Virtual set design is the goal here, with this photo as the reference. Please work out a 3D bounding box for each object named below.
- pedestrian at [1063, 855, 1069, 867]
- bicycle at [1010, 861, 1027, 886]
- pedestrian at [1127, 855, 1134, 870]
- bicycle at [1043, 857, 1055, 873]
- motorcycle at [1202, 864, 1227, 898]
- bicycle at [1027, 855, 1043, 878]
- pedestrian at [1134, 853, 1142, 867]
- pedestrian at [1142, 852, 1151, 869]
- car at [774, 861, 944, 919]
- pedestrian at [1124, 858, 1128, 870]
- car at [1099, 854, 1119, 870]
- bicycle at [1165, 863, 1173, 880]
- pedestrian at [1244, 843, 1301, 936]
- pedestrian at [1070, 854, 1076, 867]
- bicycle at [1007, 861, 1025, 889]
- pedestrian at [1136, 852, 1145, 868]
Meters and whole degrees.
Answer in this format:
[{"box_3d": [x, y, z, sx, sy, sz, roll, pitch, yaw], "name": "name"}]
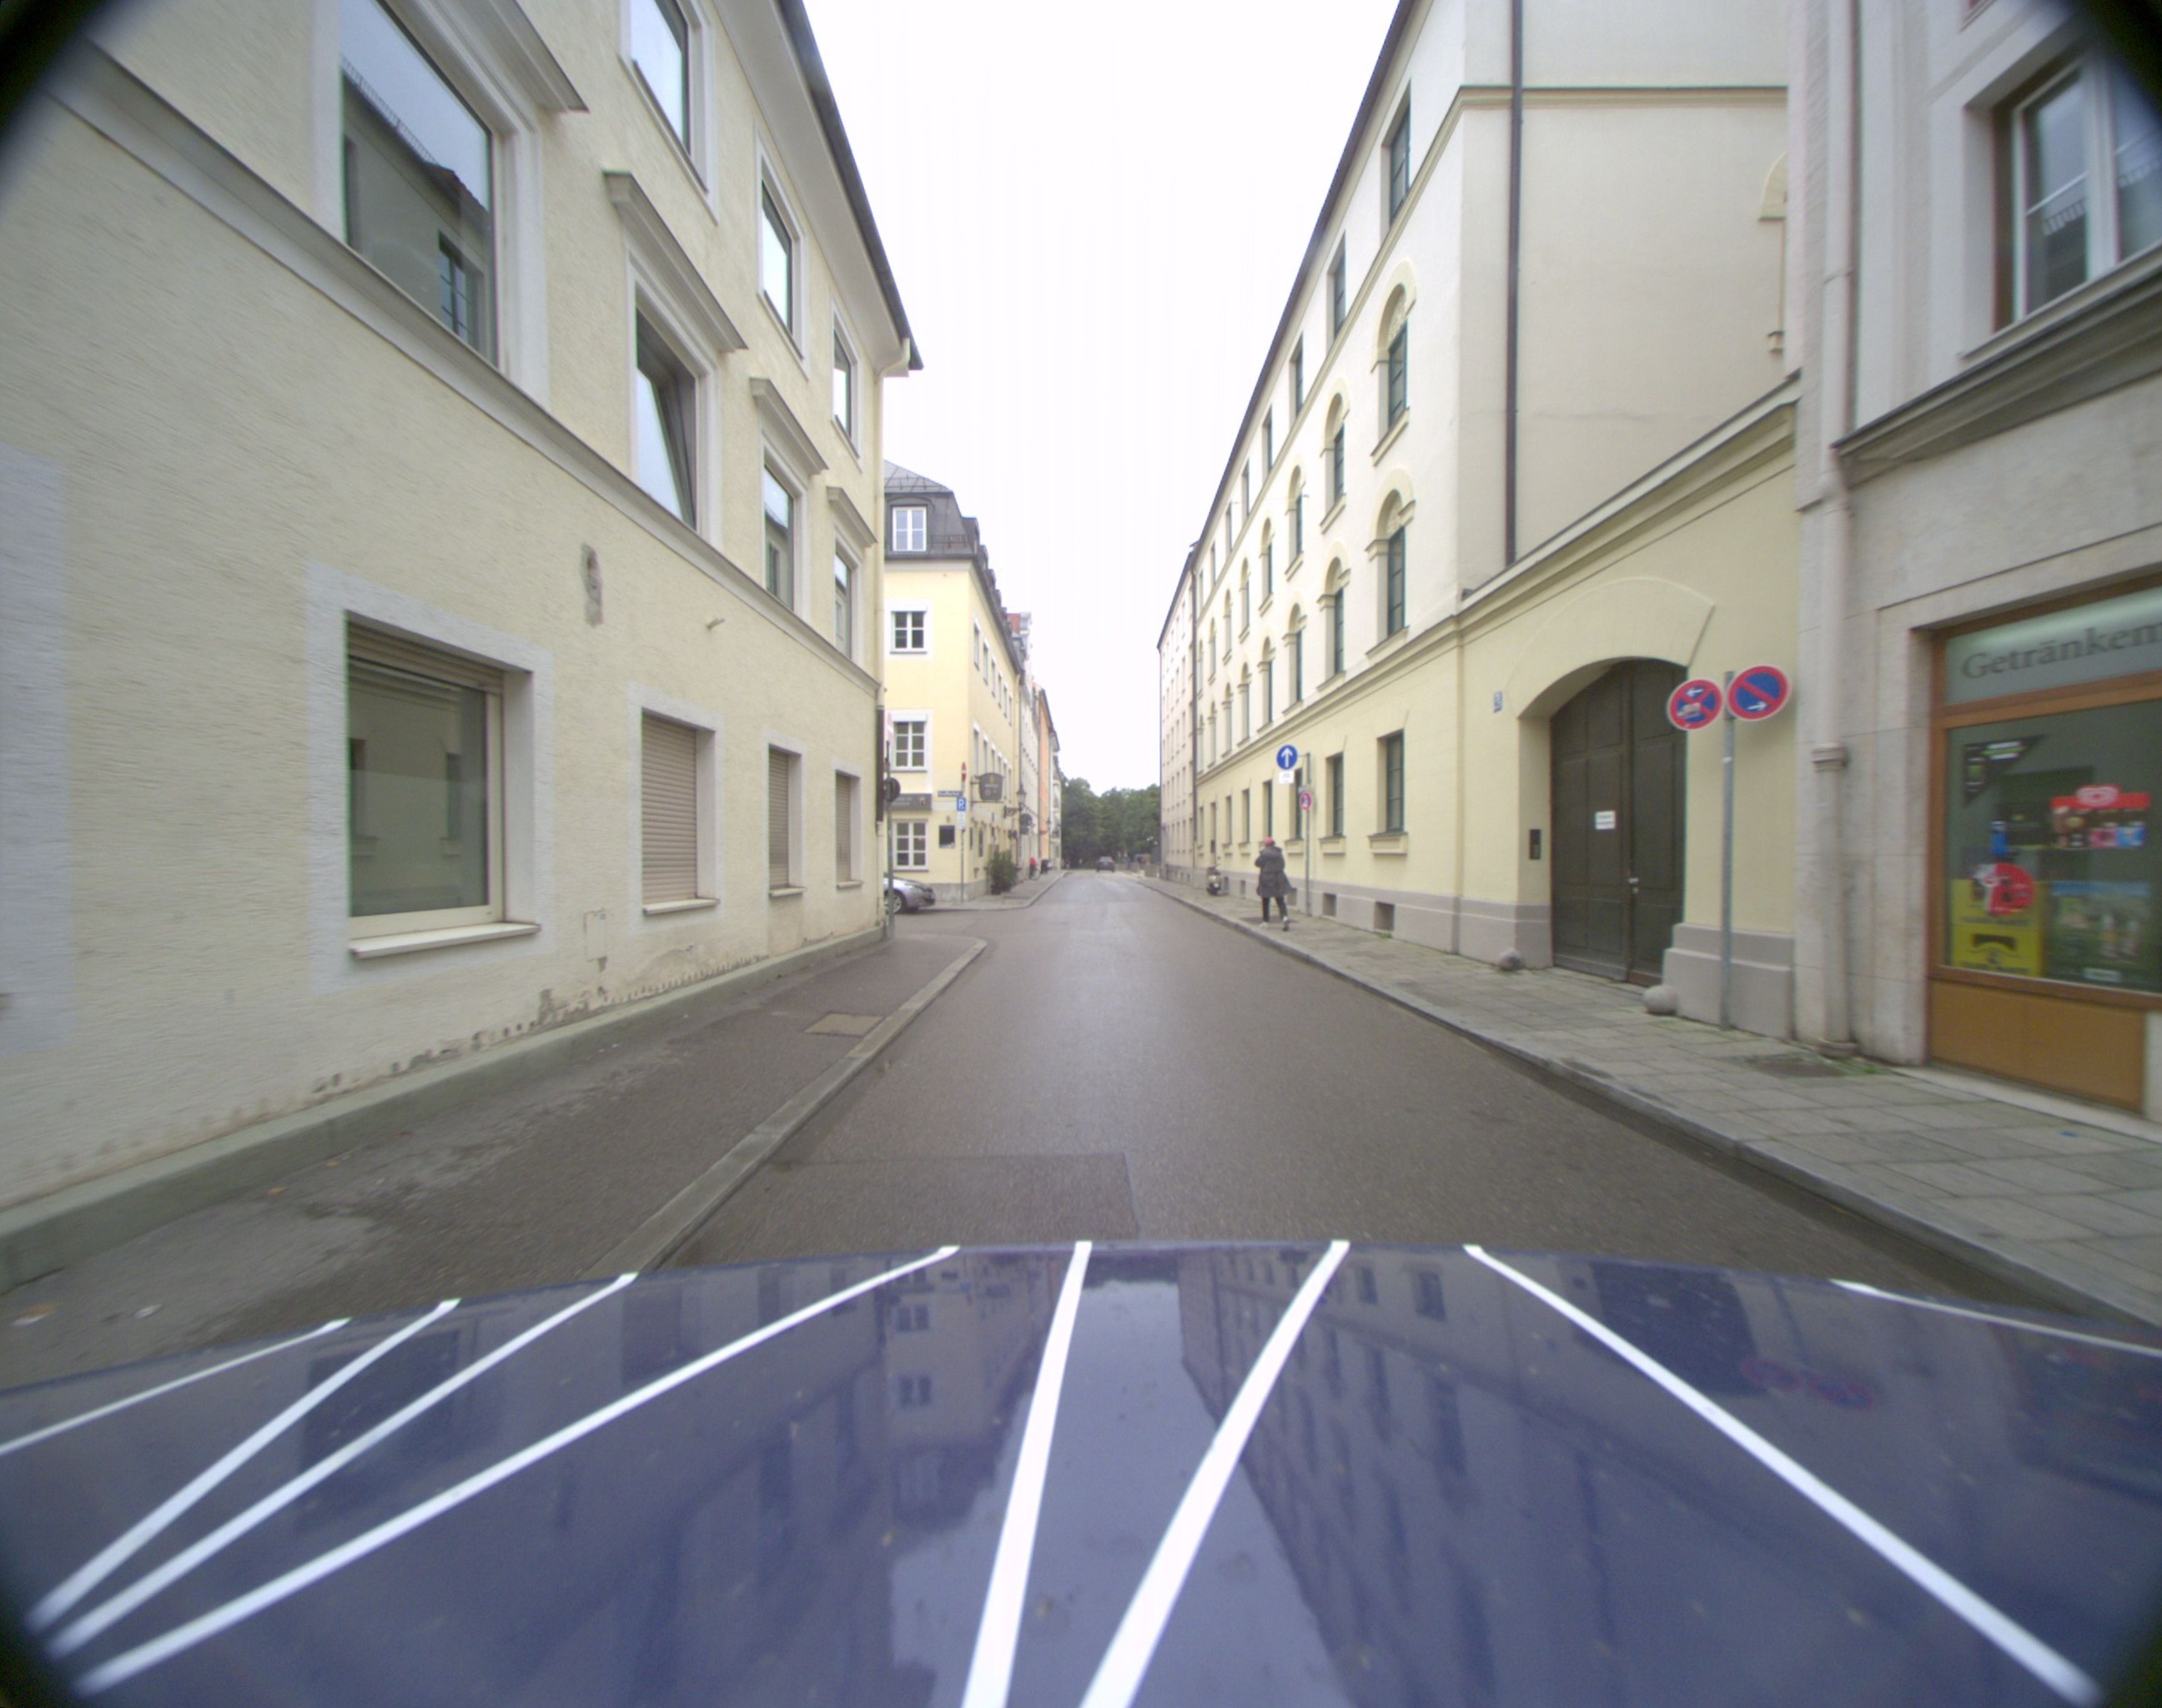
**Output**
[{"box_3d": [-2.049, 0.917, 101.858, 0.753, 1.670, 0.656, 0, 0, -1], "name": "pedestrian"}, {"box_3d": [-2.920, 0.900, 35.637, 0.567, 1.130, 1.988, 2, 0, 1], "name": "bicycle"}, {"box_3d": [5.233, 0.900, 80.271, 0.640, 1.458, 1.079, -2, 0, 1], "name": "pedestrian"}, {"box_3d": [-2.667, 0.887, 63.485, 0.681, 1.233, 2.383, 4, 0, 2], "name": "bicycle"}, {"box_3d": [4.765, 0.951, 27.122, 0.603, 1.167, 1.708, -1, 0, 1], "name": "motorcycle"}, {"box_3d": [-2.810, 0.754, 46.540, 0.715, 1.388, 2.122, 2, 0, 3], "name": "bicycle"}, {"box_3d": [6.351, 0.643, 85.069, 0.779, 1.531, 0.933, -2, 0, 2], "name": "pedestrian"}, {"box_3d": [6.883, 0.706, 79.943, 0.826, 1.712, 0.906, -2, 0, 6], "name": "pedestrian"}, {"box_3d": [-5.888, 0.958, 20.488, 4.024, 1.432, 1.765, -1, -2, 2], "name": "car"}, {"box_3d": [6.735, 1.436, 113.346, 0.625, 1.758, 0.767, 0, 0, 0], "name": "pedestrian"}, {"box_3d": [2.823, 0.812, 77.214, 1.817, 1.584, 4.000, 1, -1, 1], "name": "car"}, {"box_3d": [5.293, 1.040, 45.532, 0.320, 0.938, 1.574, -3, 0, 2], "name": "bicycle"}, {"box_3d": [3.723, 0.677, 14.819, 0.811, 1.745, 0.990, -1, -1, -2], "name": "pedestrian"}, {"box_3d": [-1.119, 0.889, 102.082, 0.753, 1.725, 0.853, 0, 0, -1], "name": "pedestrian"}, {"box_3d": [-2.821, 0.903, 33.235, 0.567, 1.130, 1.684, 2, 0, 1], "name": "bicycle"}, {"box_3d": [7.904, 0.750, 100.959, 1.226, 2.091, 1.117, 0, 0, 3], "name": "pedestrian"}]
